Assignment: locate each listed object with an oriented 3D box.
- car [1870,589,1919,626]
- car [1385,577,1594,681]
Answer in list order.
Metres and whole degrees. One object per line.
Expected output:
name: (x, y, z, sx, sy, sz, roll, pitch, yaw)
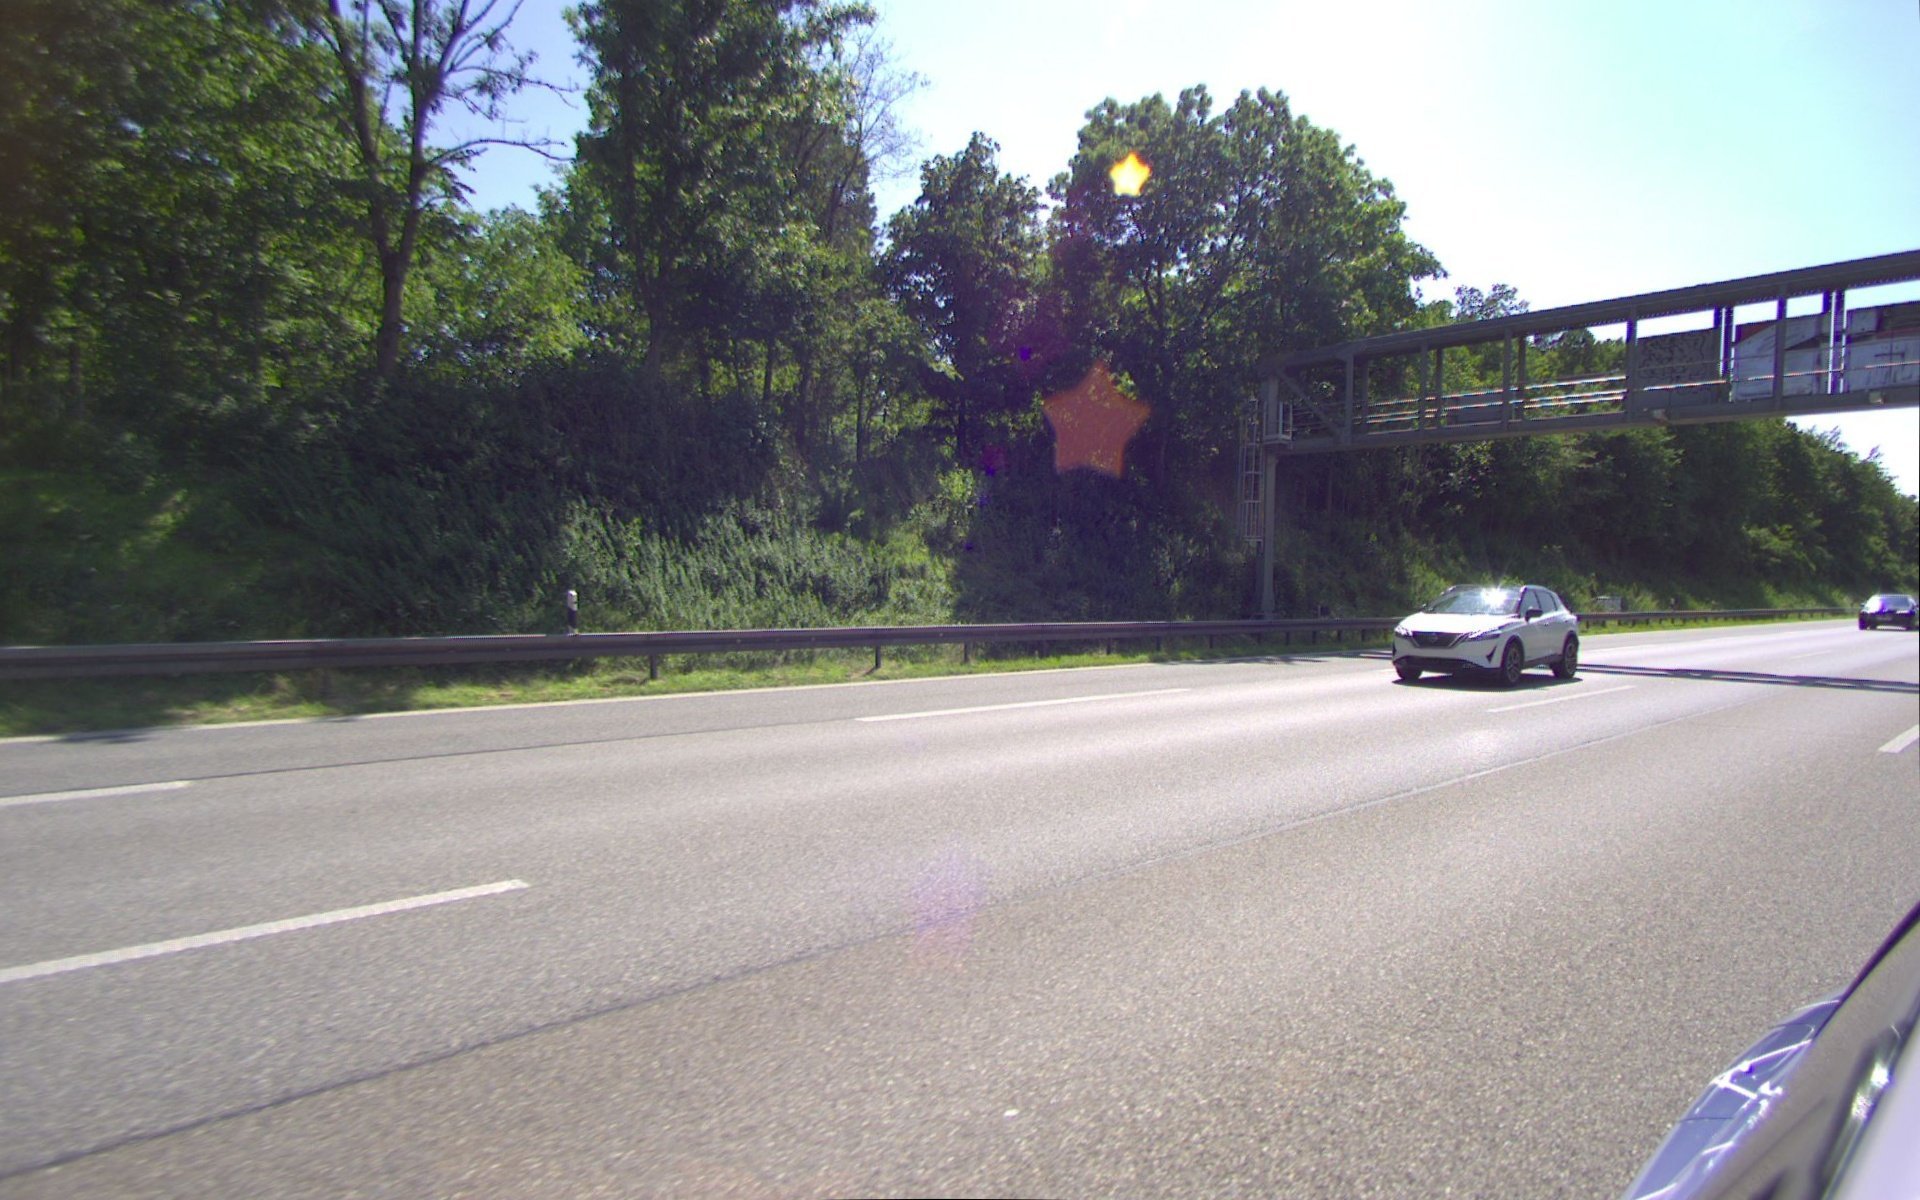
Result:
car: (44.712, 0.336, 47.767, 4.602, 1.690, 1.924, 0, 1, -39)
car: (9.146, 0.431, 17.375, 3.964, 1.588, 1.847, 0, 0, -41)
